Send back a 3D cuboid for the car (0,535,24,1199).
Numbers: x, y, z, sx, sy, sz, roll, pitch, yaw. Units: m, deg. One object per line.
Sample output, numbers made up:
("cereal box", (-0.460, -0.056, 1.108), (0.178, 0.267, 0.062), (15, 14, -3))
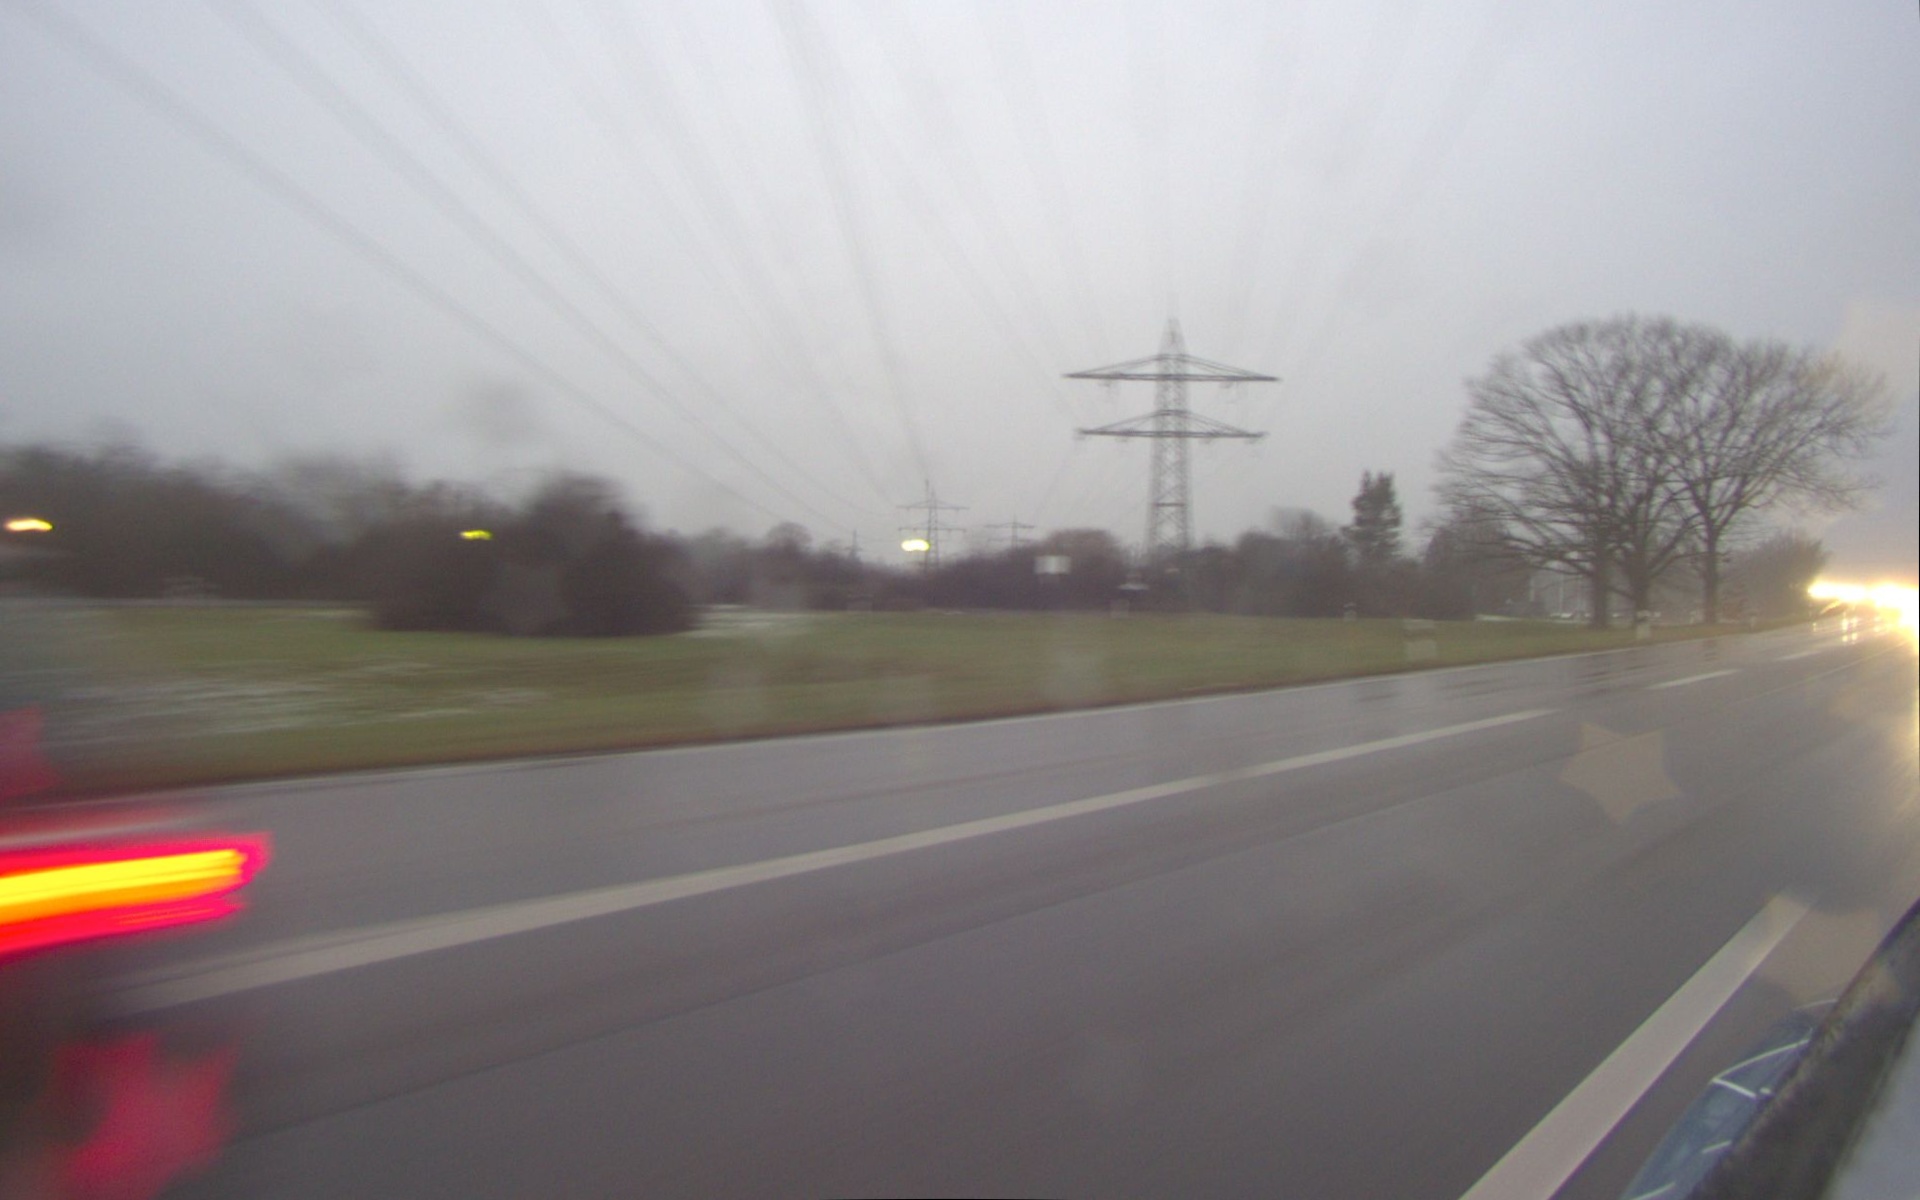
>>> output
("car", (-3.323, 0.635, 0.782), (3.742, 1.528, 1.681), (0, 1, -41))
